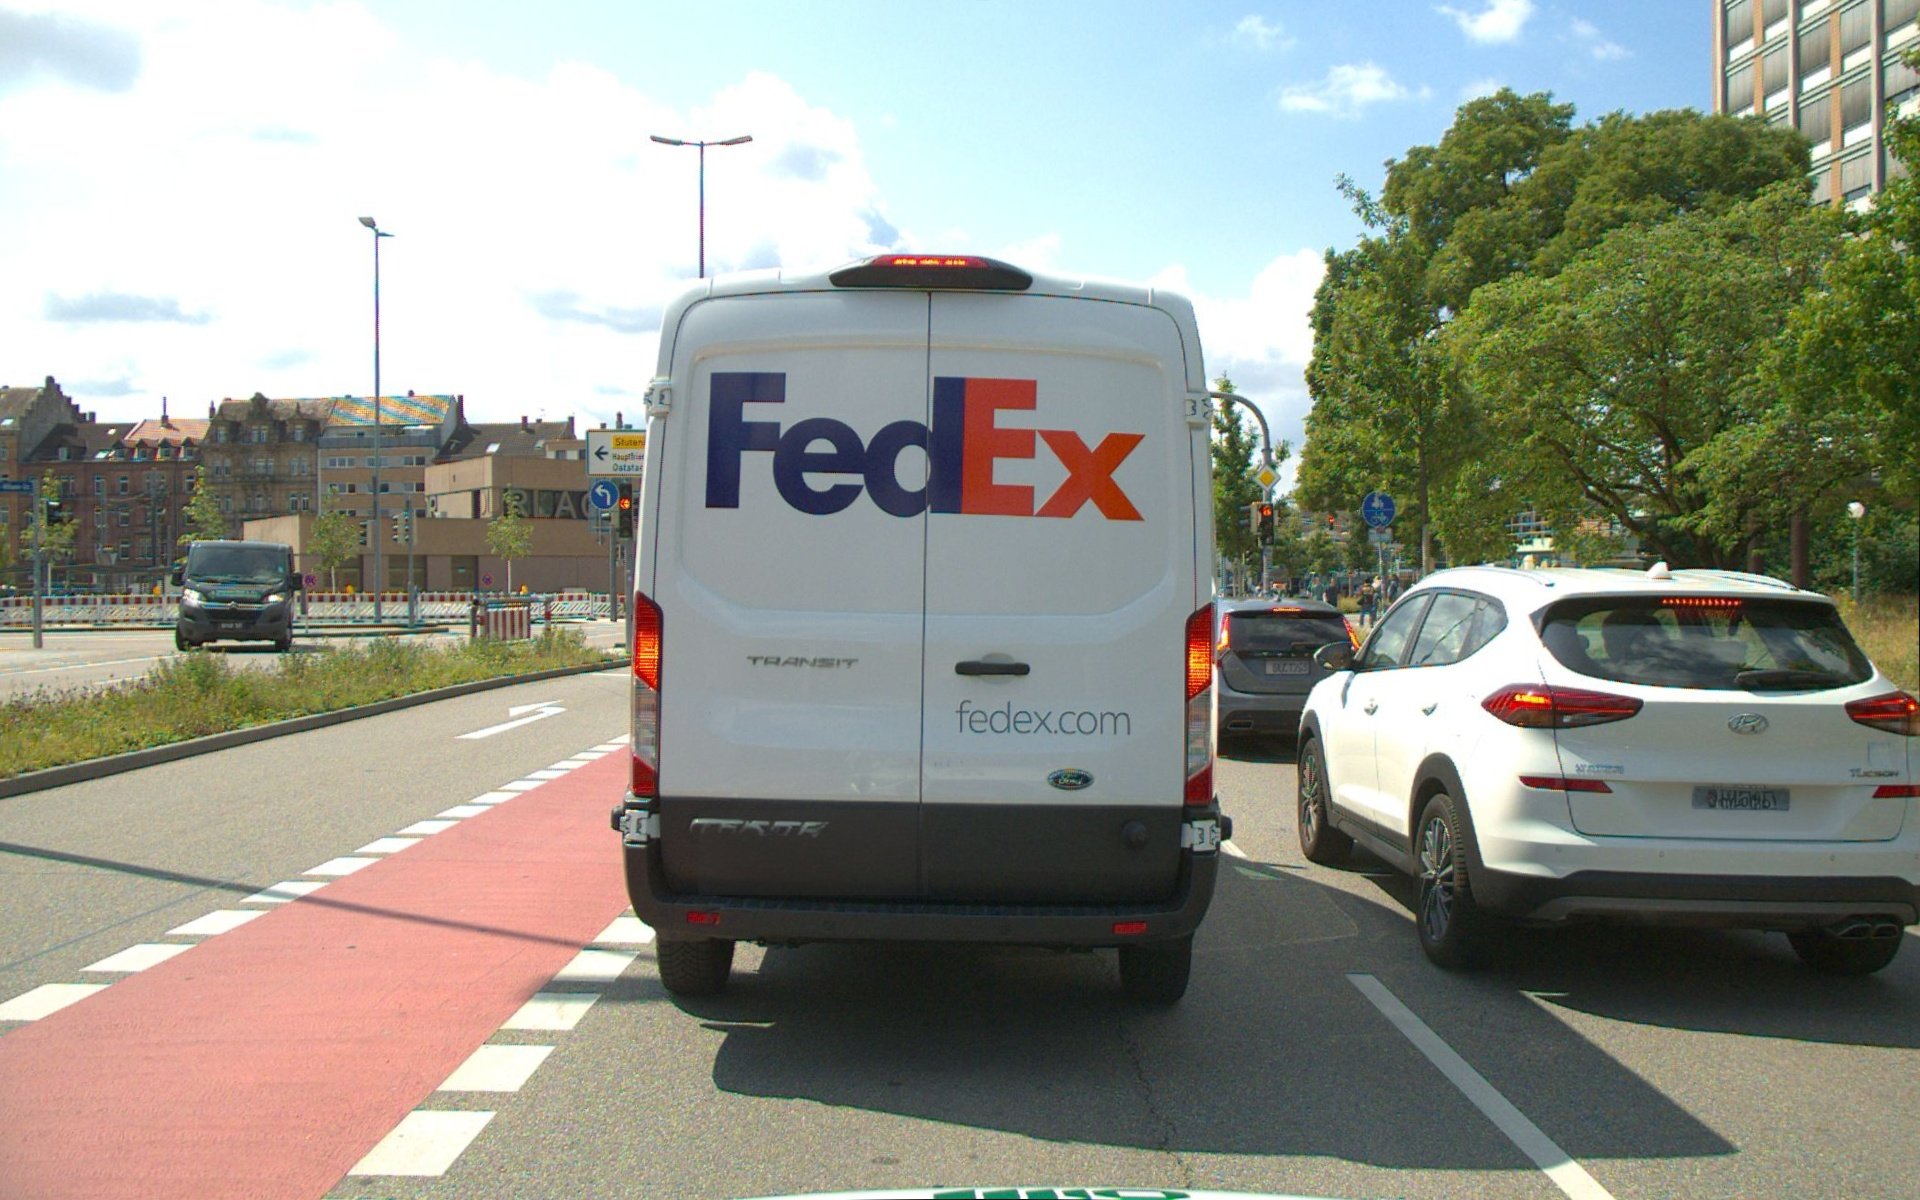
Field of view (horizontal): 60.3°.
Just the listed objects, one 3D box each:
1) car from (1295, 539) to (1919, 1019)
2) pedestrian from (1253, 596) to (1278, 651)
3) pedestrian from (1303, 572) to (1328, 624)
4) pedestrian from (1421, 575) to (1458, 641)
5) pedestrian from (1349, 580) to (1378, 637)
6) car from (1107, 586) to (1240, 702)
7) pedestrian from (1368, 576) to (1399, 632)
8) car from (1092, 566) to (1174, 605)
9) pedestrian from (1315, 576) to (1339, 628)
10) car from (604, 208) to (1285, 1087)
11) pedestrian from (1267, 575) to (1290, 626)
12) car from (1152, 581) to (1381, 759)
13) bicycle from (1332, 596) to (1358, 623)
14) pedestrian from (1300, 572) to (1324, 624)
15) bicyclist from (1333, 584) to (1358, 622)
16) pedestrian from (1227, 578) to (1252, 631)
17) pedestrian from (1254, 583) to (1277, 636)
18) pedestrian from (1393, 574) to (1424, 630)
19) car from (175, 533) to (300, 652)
[{"bbox_3d":[2.871,0.617,7.896,1.777,1.708,3.974,0,1,1],"label":"car"},{"bbox_3d":[10.493,0.803,56.847,0.743,1.882,0.816,0,0,18],"label":"pedestrian"},{"bbox_3d":[12.832,-0.073,59.689,0.743,1.882,0.816,0,0,1],"label":"pedestrian"},{"bbox_3d":[12.350,0.191,42.640,0.743,1.684,0.816,0,0,3],"label":"pedestrian"},{"bbox_3d":[13.452,0.265,55.185,0.743,1.882,0.816,0,0,-2],"label":"pedestrian"},{"bbox_3d":[2.939,0.558,23.344,1.468,1.489,3.474,0,1,1],"label":"car"},{"bbox_3d":[14.430,0.129,56.343,0.745,1.882,0.814,-1,0,-11],"label":"pedestrian"},{"bbox_3d":[12.985,-1.033,123.754,2.452,2.765,7.041,1,-1,42],"label":"car"},{"bbox_3d":[12.868,0.061,57.998,0.742,1.820,0.817,0,0,7],"label":"pedestrian"},{"bbox_3d":[-0.017,0.119,7.174,2.030,2.626,4.428,0,1,1],"label":"car"},{"bbox_3d":[11.842,0.025,61.446,0.742,1.882,0.817,0,0,5],"label":"pedestrian"},{"bbox_3d":[2.966,0.605,16.671,1.656,1.576,3.721,0,1,1],"label":"car"},{"bbox_3d":[22.708,0.564,97.448,1.395,1.489,4.314,0,1,14],"label":"bicycle"},{"bbox_3d":[12.930,-0.072,60.707,0.743,1.882,0.816,0,0,3],"label":"pedestrian"},{"bbox_3d":[22.747,0.189,97.564,1.402,2.209,1.340,0,0,14],"label":"bicyclist"},{"bbox_3d":[10.138,0.154,59.978,0.796,1.882,0.761,0,0,2],"label":"pedestrian"},{"bbox_3d":[10.927,0.347,59.206,0.742,1.882,0.817,0,0,14],"label":"pedestrian"},{"bbox_3d":[15.337,0.052,56.581,0.745,1.882,0.814,0,0,-9],"label":"pedestrian"},{"bbox_3d":[-14.868,-0.147,34.141,2.119,2.213,4.982,-3,1,-23],"label":"car"}]
